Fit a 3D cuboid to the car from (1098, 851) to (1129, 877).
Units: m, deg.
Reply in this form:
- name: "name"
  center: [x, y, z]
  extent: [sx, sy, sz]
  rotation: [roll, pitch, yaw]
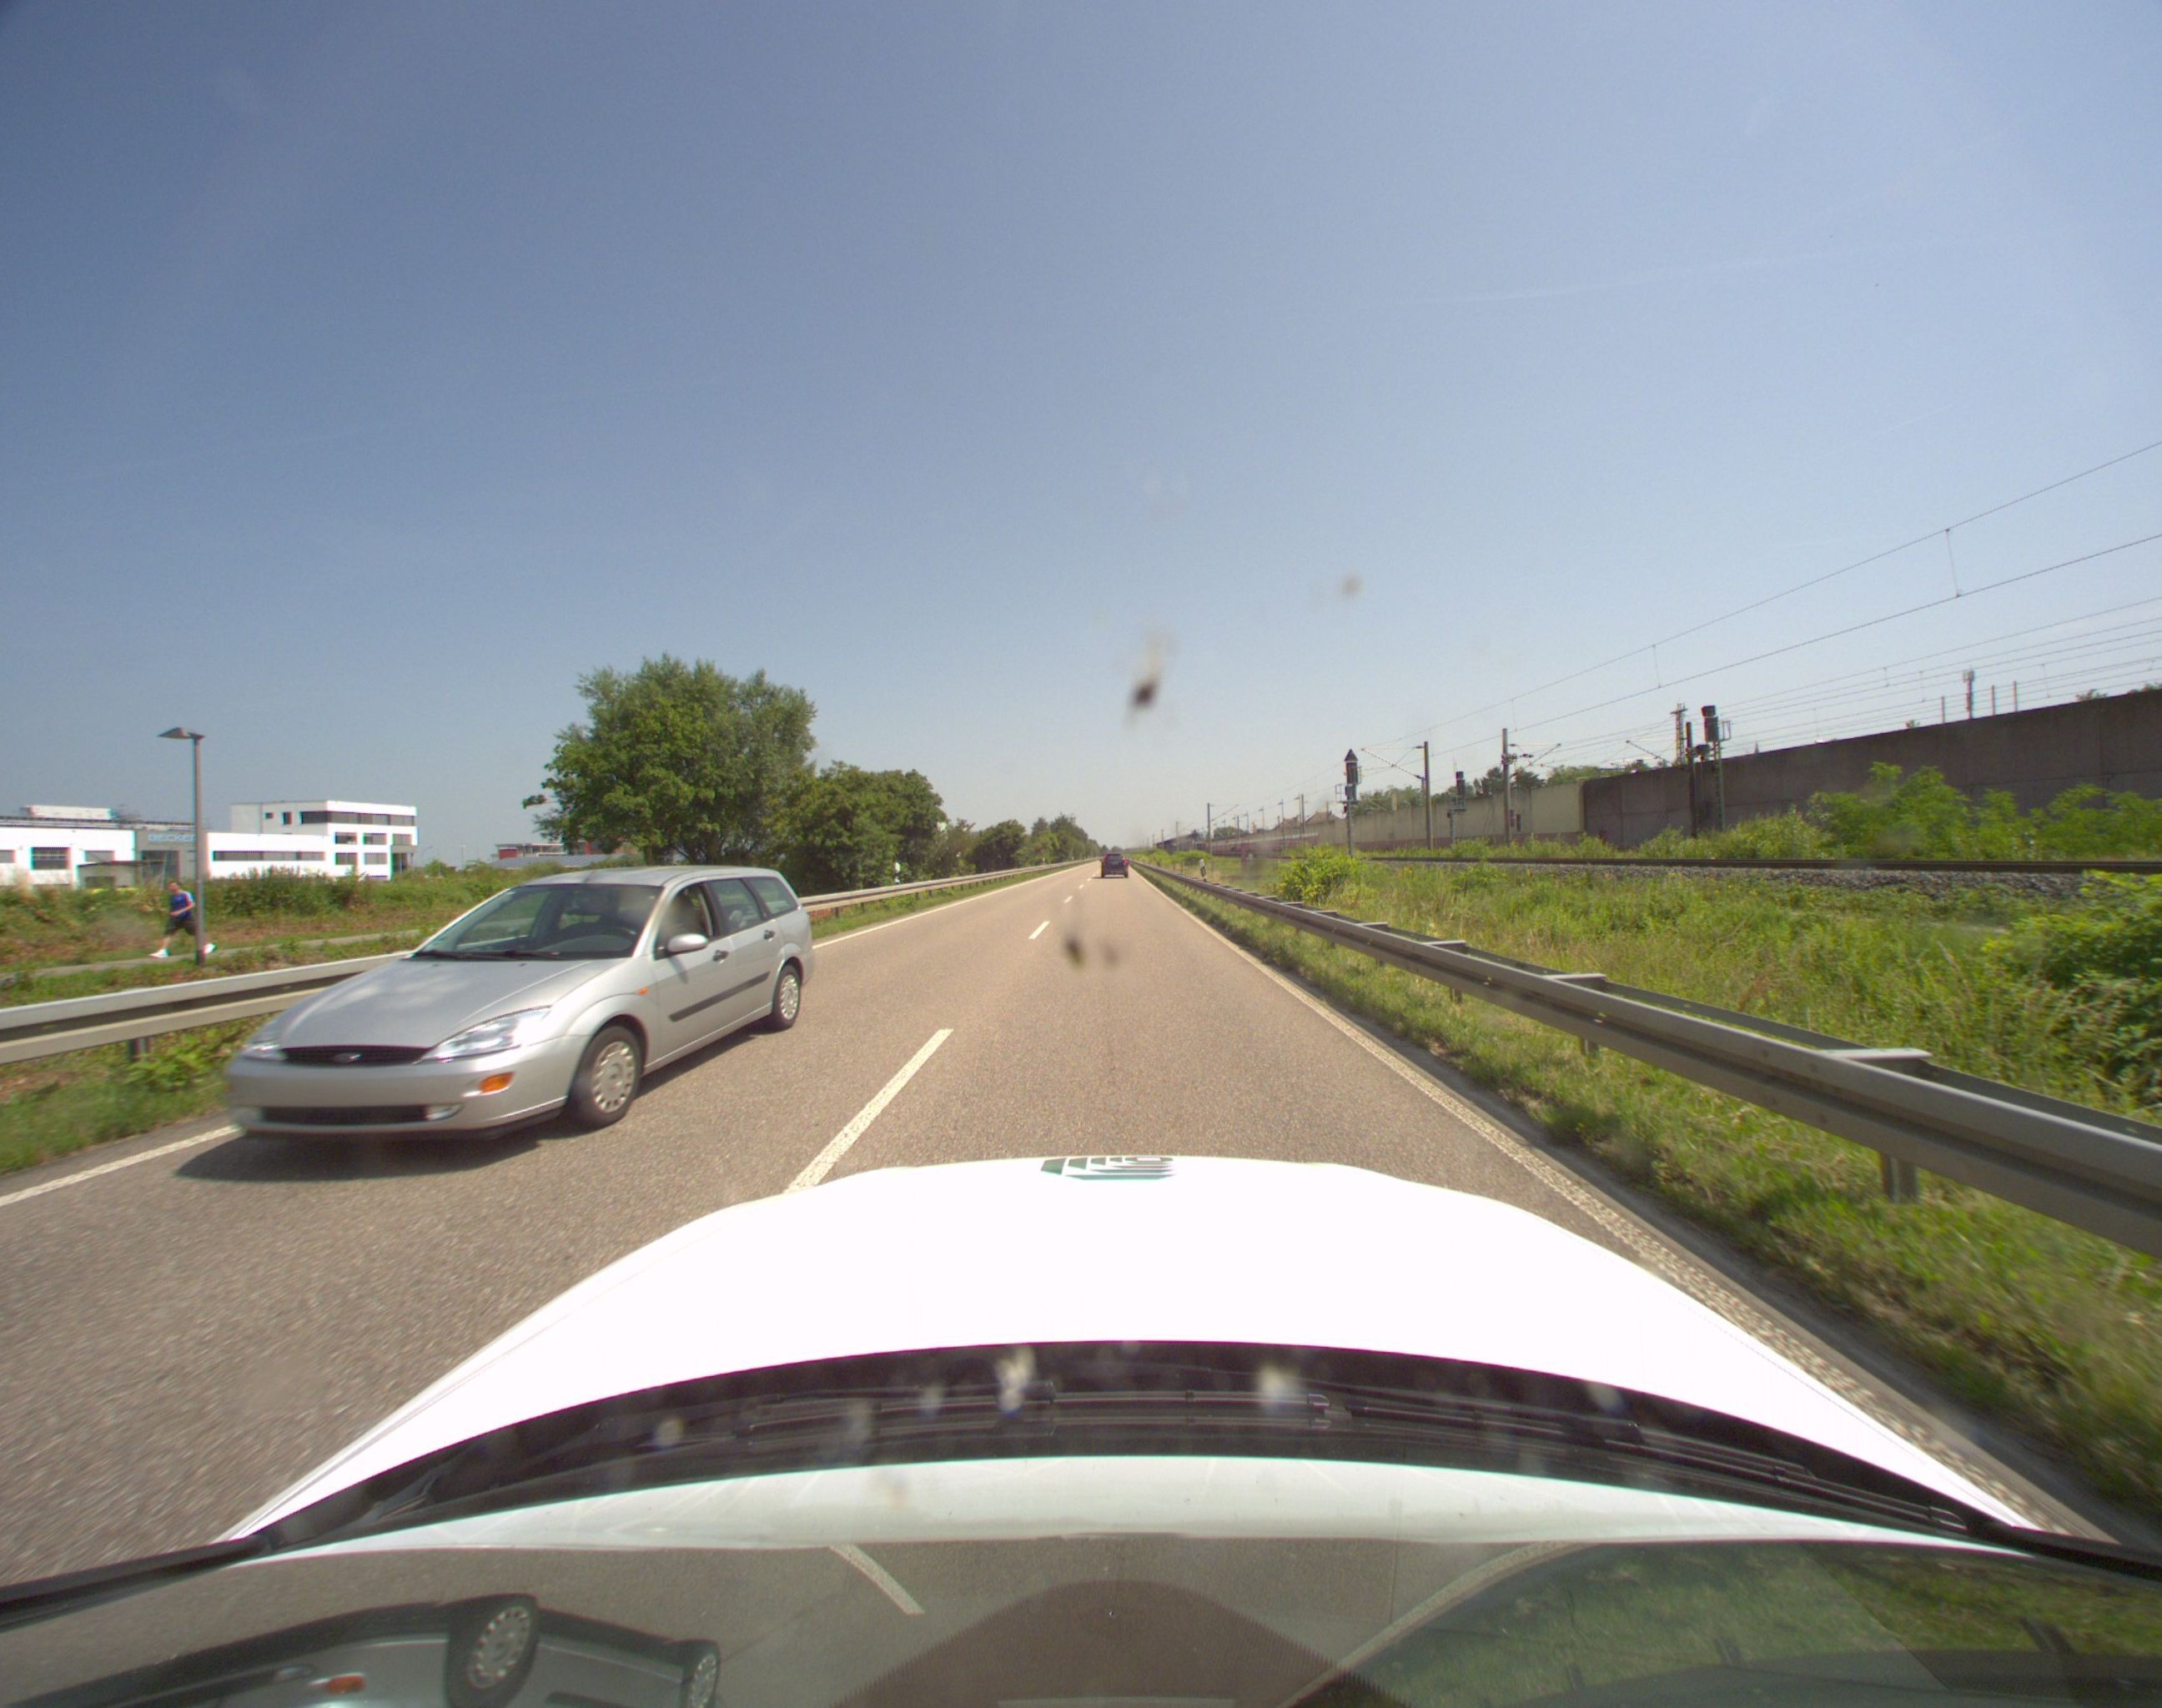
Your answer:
- name: "car"
  center: [2.233, 0.669, 56.701]
  extent: [1.987, 1.700, 3.999]
  rotation: [-1, 0, 0]

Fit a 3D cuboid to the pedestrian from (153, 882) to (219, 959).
- name: "pedestrian"
  center: [-21.436, 1.579, 19.520]
  extent: [0.576, 1.750, 0.822]
  rotation: [-3, 0, 6]

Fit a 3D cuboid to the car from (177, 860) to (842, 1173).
- name: "car"
  center: [-3.445, 0.804, 6.269]
  extent: [1.692, 1.475, 4.688]
  rotation: [0, 0, 2]
